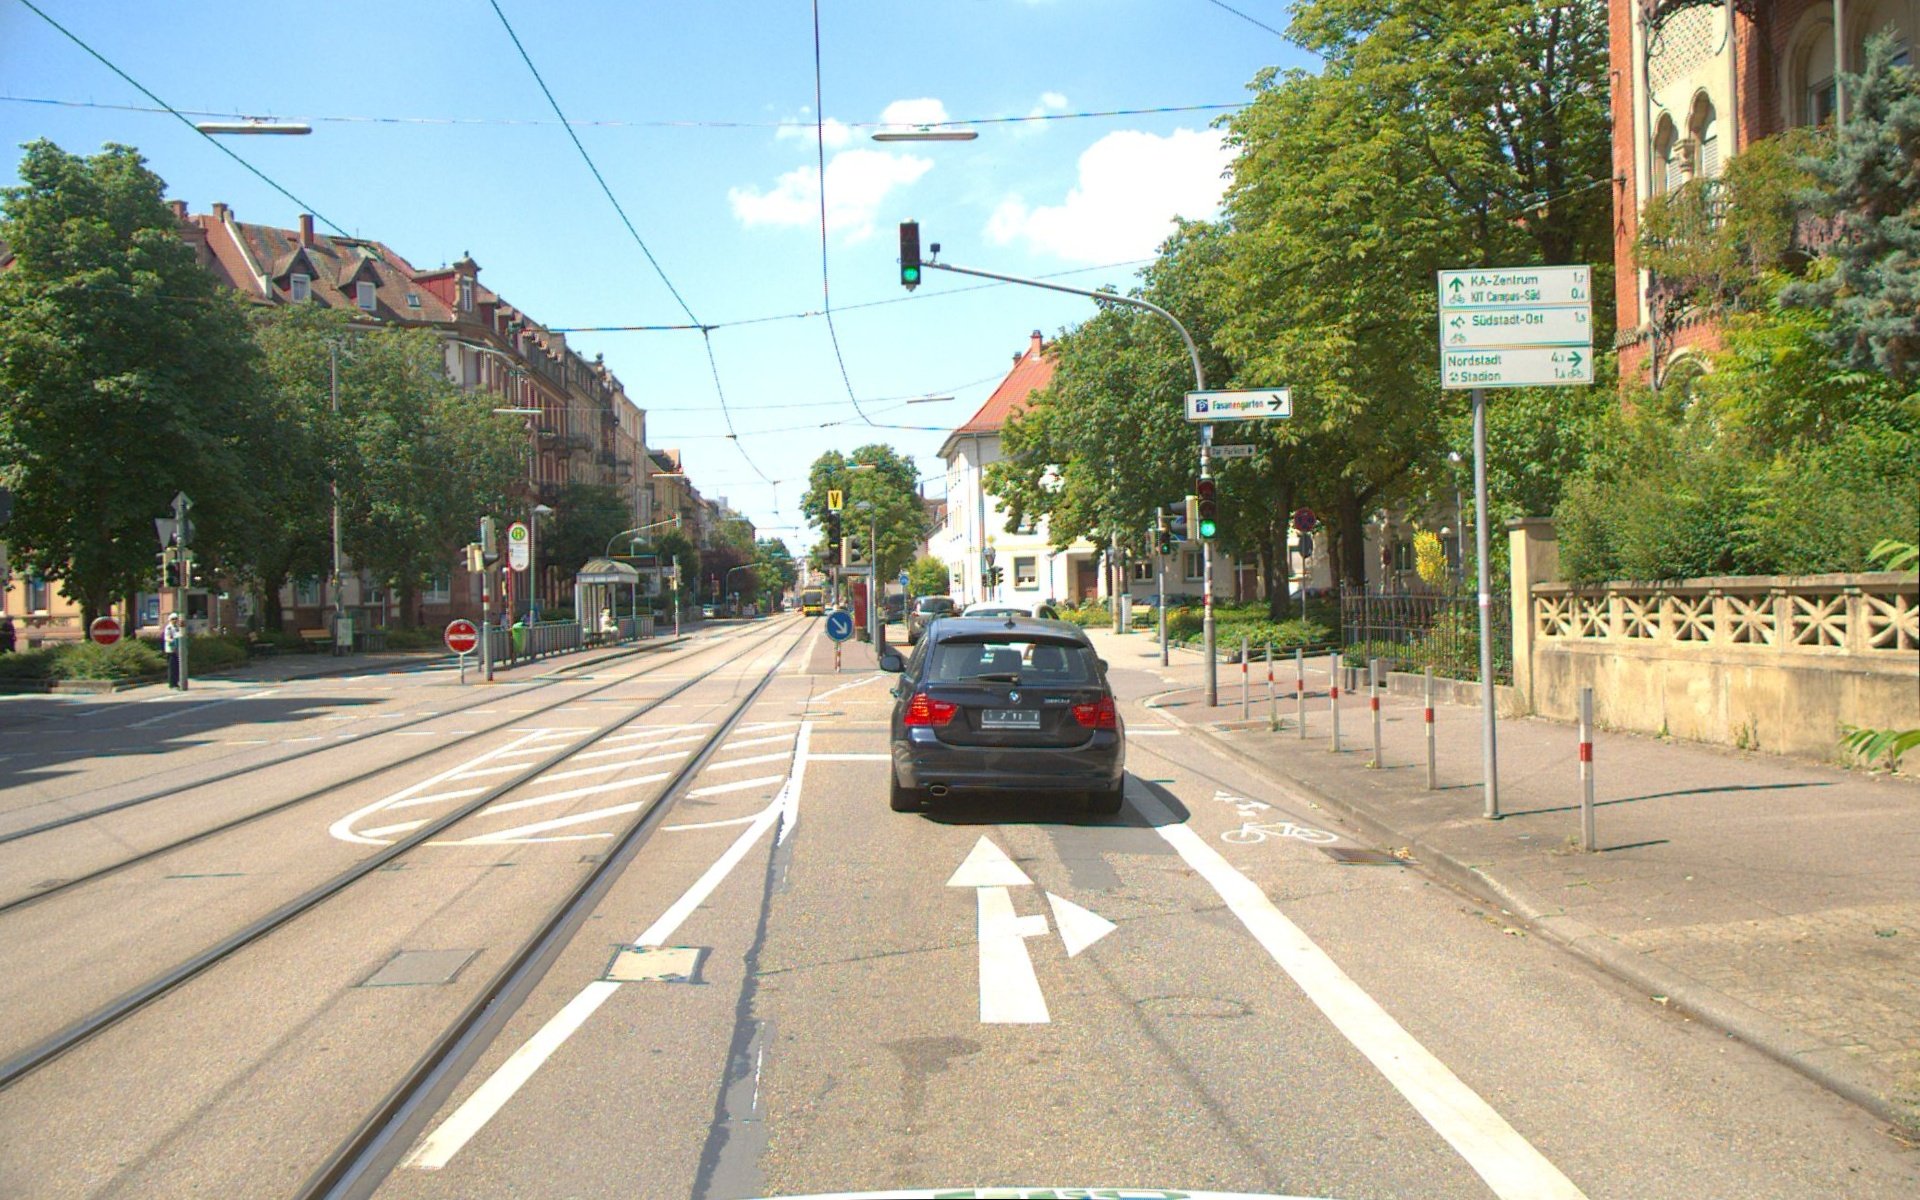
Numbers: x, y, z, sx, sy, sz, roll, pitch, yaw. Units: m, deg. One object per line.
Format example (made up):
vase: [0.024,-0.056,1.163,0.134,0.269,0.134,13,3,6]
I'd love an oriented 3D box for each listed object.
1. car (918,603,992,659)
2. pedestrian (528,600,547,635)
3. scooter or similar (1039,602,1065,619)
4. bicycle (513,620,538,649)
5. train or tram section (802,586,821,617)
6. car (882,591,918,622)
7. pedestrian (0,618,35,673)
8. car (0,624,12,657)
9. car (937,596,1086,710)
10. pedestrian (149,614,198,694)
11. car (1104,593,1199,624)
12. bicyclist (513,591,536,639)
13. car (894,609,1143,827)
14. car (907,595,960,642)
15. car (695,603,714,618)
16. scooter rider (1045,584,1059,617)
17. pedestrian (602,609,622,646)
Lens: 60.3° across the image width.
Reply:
car: [-0.171,0.777,42.899,1.658,1.346,3.818,-2,0,-4]
pedestrian: [-22.595,0.938,88.422,0.627,1.843,0.739,-2,0,30]
scooter or similar: [4.852,0.556,87.194,1.288,0.852,0.525,-2,0,-10]
bicycle: [-17.615,1.404,67.033,0.715,1.121,1.713,-1,0,-6]
train or tram section: [-17.556,0.208,195.916,2.147,3.543,8.836,-2,0,-5]
car: [-3.940,0.427,108.156,1.956,1.881,3.993,-2,0,-8]
pedestrian: [-33.273,1.601,58.043,0.978,1.901,1.018,-2,0,10]
car: [-45.124,1.881,75.260,3.388,1.497,1.685,-2,0,20]
car: [0.851,0.743,24.964,1.649,1.510,3.688,-2,0,11]
pedestrian: [-17.734,1.206,37.310,0.831,1.753,0.908,-2,0,-35]
car: [8.693,0.377,75.146,3.913,1.265,1.620,-2,0,31]
bicyclist: [-17.639,0.607,66.963,0.708,1.903,0.825,-2,0,-4]
car: [0.429,0.814,13.553,1.687,1.433,4.565,0,0,1]
car: [-0.952,0.614,57.352,1.658,1.540,3.818,-2,0,-3]
car: [-27.987,1.192,181.034,1.756,1.614,3.987,0,-1,-13]
scooter rider: [4.828,0.048,87.195,0.580,1.716,0.527,-2,0,-10]
pedestrian: [-12.083,0.953,57.434,0.602,1.264,0.626,-2,0,-10]
